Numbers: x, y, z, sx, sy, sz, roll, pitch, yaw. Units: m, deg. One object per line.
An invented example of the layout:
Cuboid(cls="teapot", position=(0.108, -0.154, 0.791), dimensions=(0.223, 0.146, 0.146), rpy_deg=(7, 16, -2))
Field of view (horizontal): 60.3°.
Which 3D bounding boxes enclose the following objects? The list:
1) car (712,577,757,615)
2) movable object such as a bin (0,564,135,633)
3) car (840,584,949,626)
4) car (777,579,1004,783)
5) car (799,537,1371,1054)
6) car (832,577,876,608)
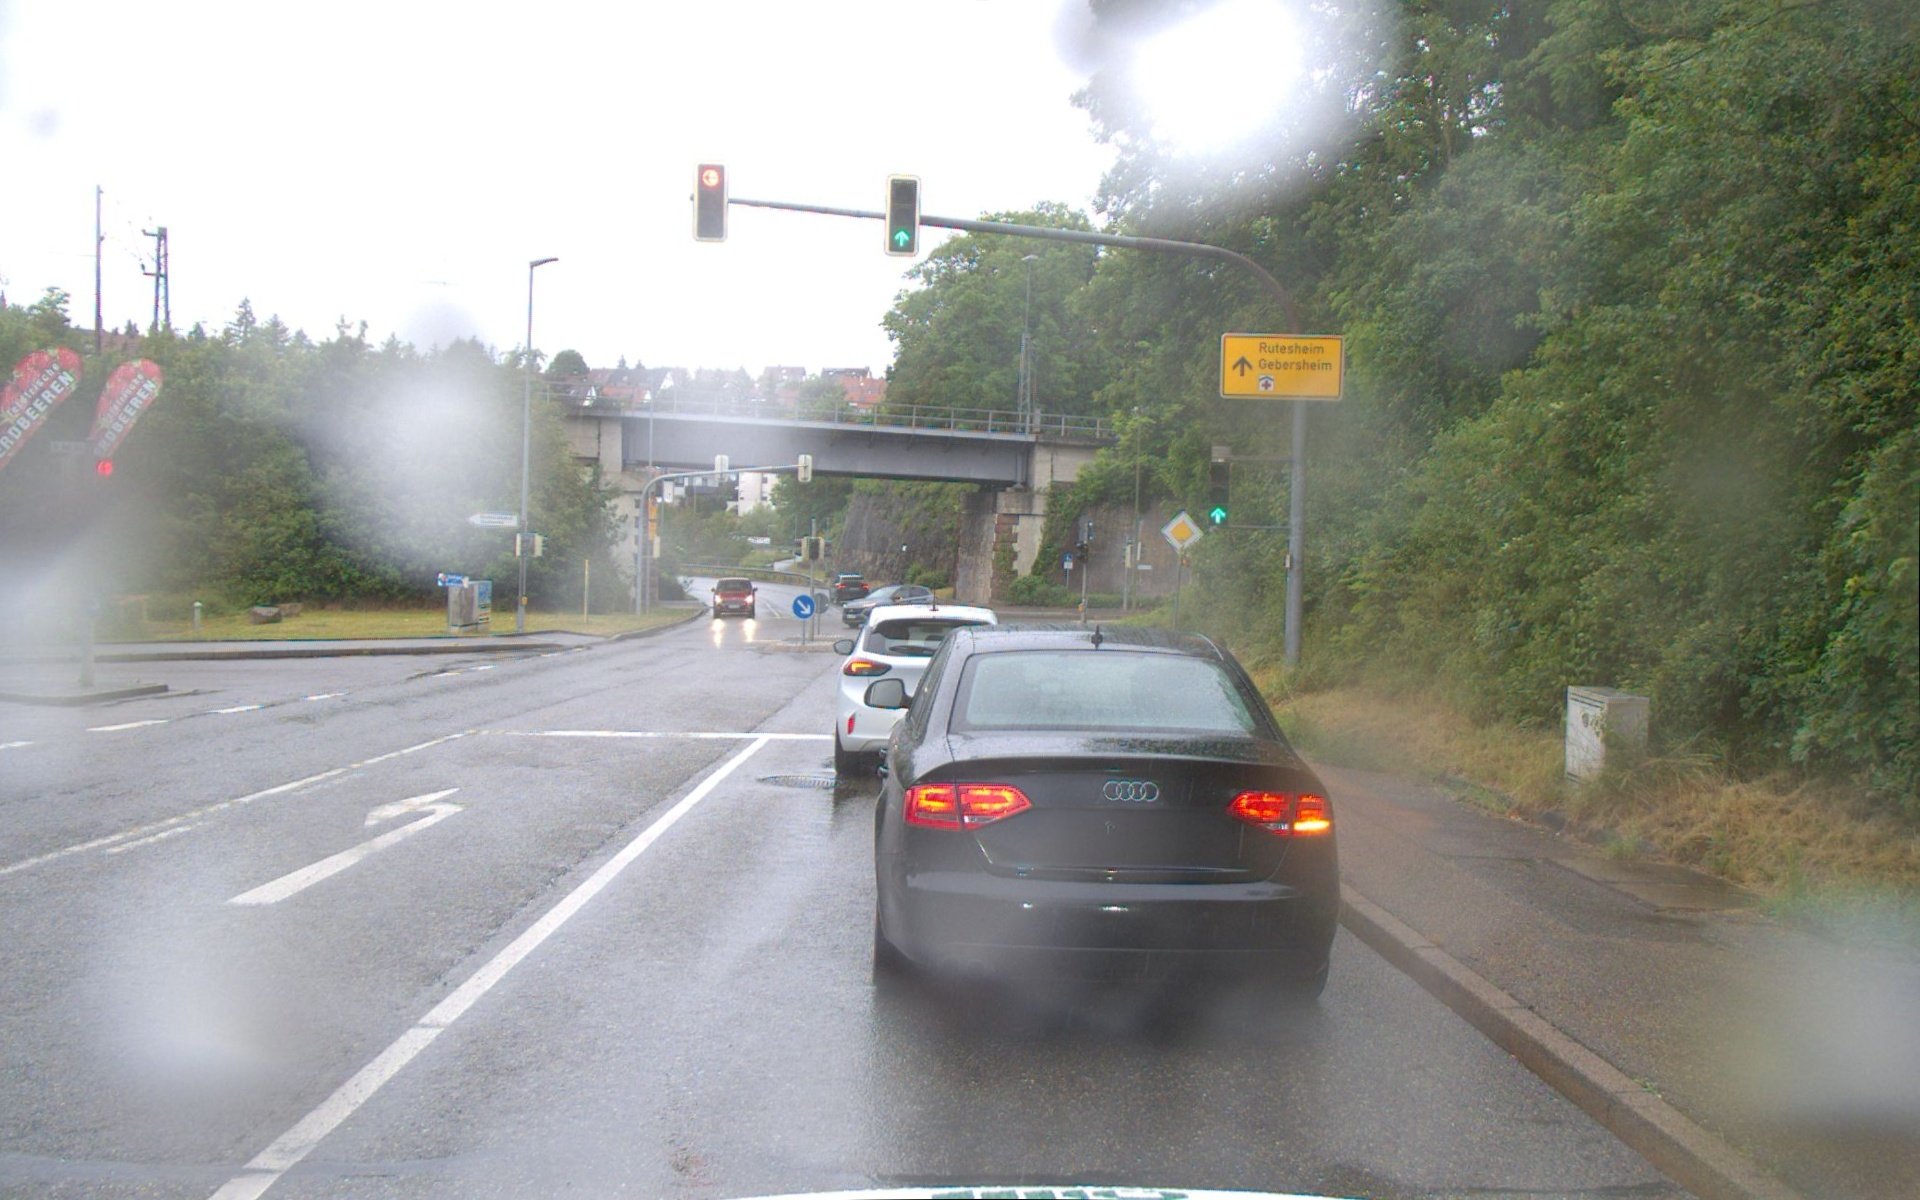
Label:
Cuboid(cls="car", position=(-10.149, -0.174, 74.666), dimensions=(1.956, 1.657, 3.993), rpy_deg=(0, 0, -8))
Cuboid(cls="movable object such as a bin", position=(-24.169, -0.028, 41.349), dimensions=(2.699, 1.656, 5.752), rpy_deg=(0, -1, 39))
Cuboid(cls="car", position=(-2.417, 0.184, 61.915), dimensions=(3.967, 1.495, 1.619), rpy_deg=(1, 0, -43))
Cuboid(cls="car", position=(-0.584, 0.681, 15.196), dimensions=(1.786, 1.613, 3.999), rpy_deg=(1, -1, -1))
Cuboid(cls="car", position=(0.377, 0.665, 7.330), dimensions=(1.832, 1.645, 3.999), rpy_deg=(1, -1, -1))
Cuboid(cls="car", position=(-5.745, -0.418, 88.946), dimensions=(1.957, 1.624, 3.991), rpy_deg=(0, 0, -10))
